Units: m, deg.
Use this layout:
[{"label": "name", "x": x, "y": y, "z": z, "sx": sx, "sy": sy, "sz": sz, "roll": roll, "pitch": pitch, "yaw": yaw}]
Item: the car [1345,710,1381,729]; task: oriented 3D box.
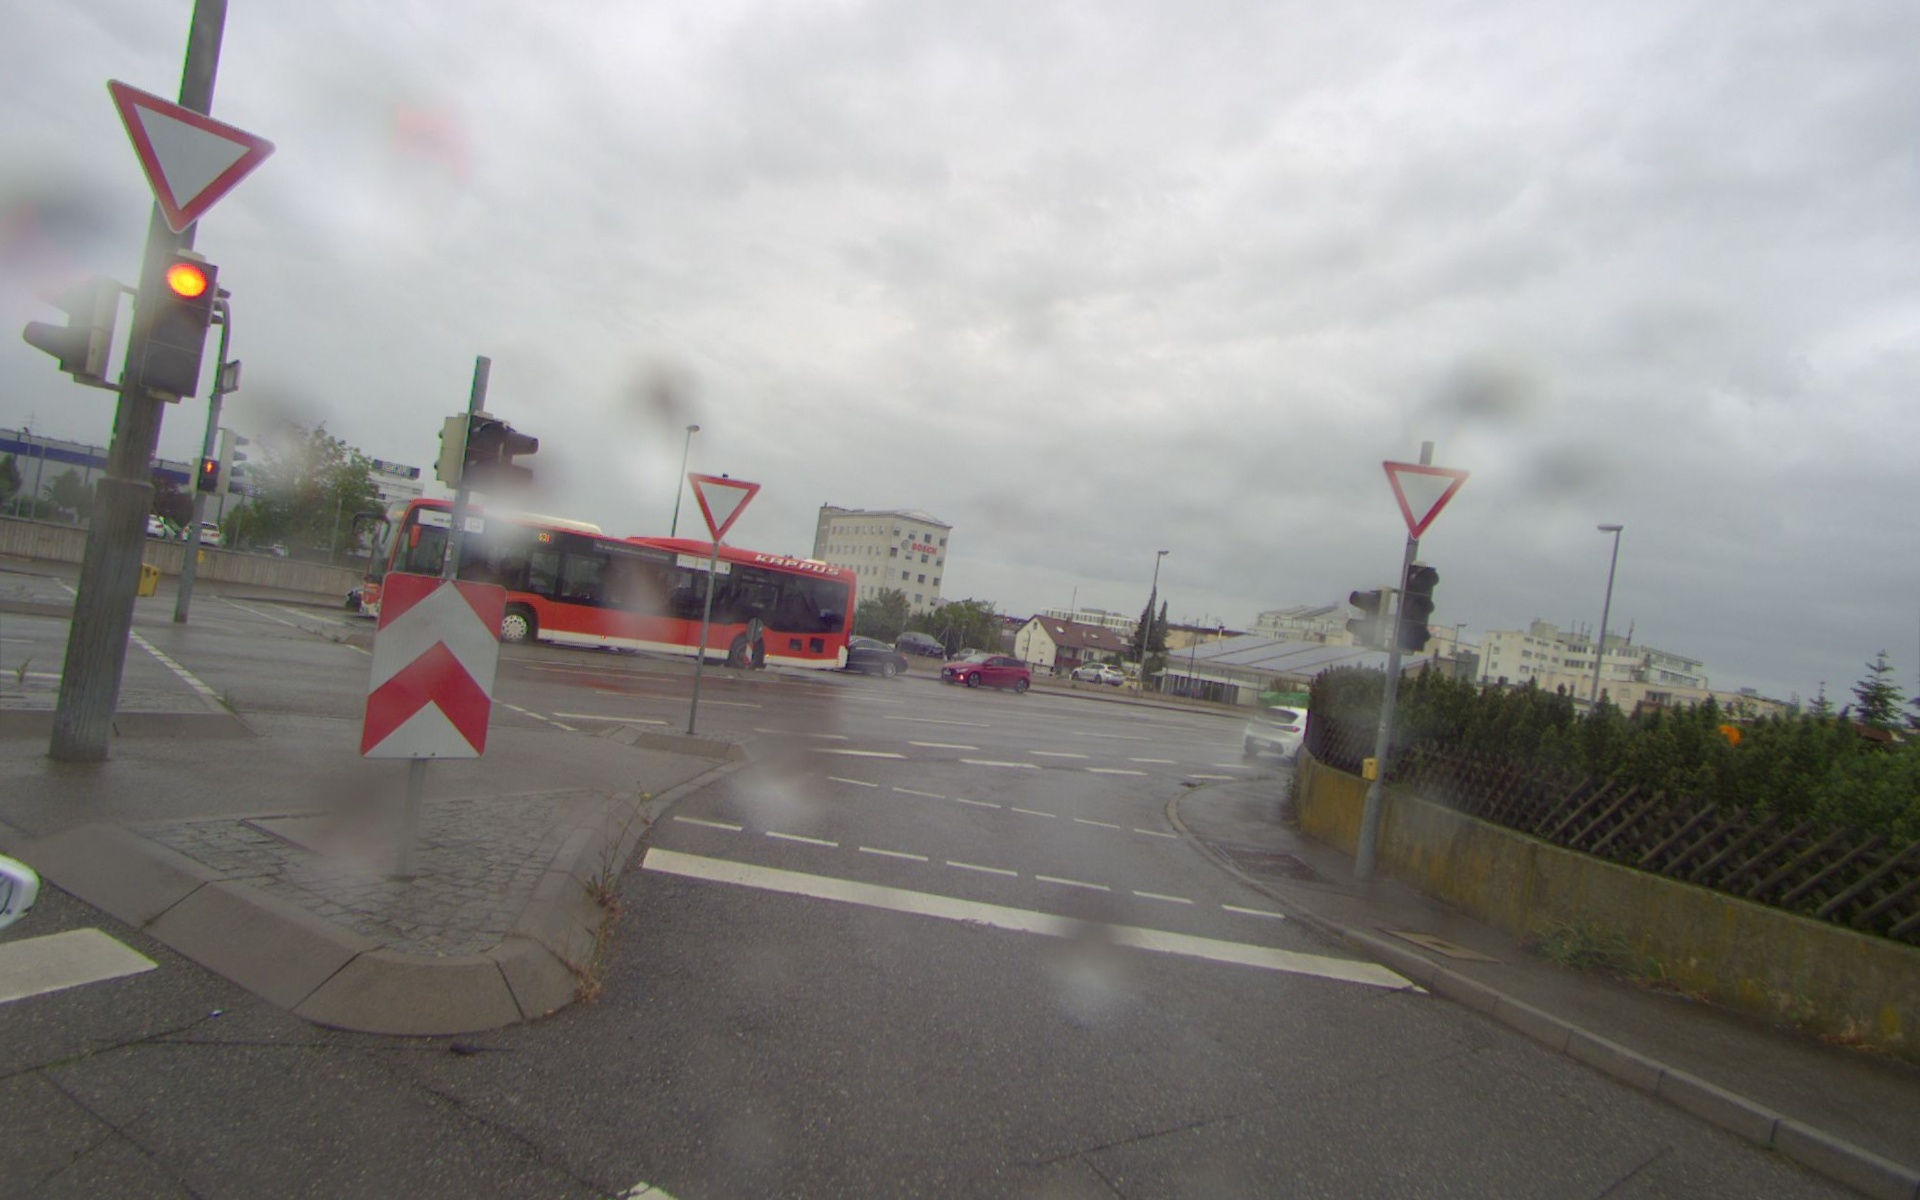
[{"label": "car", "x": 41.092, "y": 12.186, "z": 102.544, "sx": 3.616, "sy": 1.436, "sz": 1.720, "roll": 10, "pitch": -2, "yaw": -36}]

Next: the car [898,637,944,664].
[{"label": "car", "x": -3.191, "y": 4.053, "z": 81.458, "sx": 1.980, "sy": 1.636, "sz": 3.970, "roll": 9, "pitch": -2, "yaw": -30}]

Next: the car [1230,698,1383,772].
[{"label": "car", "x": 9.363, "y": 3.646, "z": 27.083, "sx": 3.947, "sy": 1.525, "sz": 1.854, "roll": 9, "pitch": -2, "yaw": -35}]

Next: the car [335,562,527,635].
[{"label": "car", "x": -14.802, "y": -0.018, "z": 28.285, "sx": 4.367, "sy": 1.370, "sz": 1.804, "roll": 10, "pitch": -3, "yaw": -42}]

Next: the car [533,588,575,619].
[{"label": "car", "x": -31.944, "y": 0.282, "z": 79.102, "sx": 1.983, "sy": 2.037, "sz": 3.962, "roll": 8, "pitch": -2, "yaw": -36}]

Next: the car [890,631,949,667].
[{"label": "car", "x": -2.505, "y": 2.975, "z": 61.678, "sx": 1.912, "sy": 1.684, "sz": 3.869, "roll": 9, "pitch": -2, "yaw": -29}]

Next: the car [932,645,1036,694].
[{"label": "car", "x": 1.021, "y": 2.900, "z": 42.038, "sx": 3.948, "sy": 1.525, "sz": 1.853, "roll": 9, "pitch": -2, "yaw": -36}]

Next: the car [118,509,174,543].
[{"label": "car", "x": -45.608, "y": -4.119, "z": 56.444, "sx": 1.805, "sy": 1.450, "sz": 4.071, "roll": 8, "pitch": -2, "yaw": -32}]

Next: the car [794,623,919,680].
[{"label": "car", "x": -3.887, "y": 1.971, "z": 38.184, "sx": 4.367, "sy": 1.555, "sz": 1.804, "roll": 10, "pitch": -3, "yaw": -42}]

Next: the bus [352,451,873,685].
[{"label": "bus", "x": -8.197, "y": -0.421, "z": 25.972, "sx": 12.223, "sy": 3.614, "sz": 2.952, "roll": 12, "pitch": -4, "yaw": -41}]

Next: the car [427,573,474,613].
[{"label": "car", "x": -30.984, "y": -0.445, "z": 61.167, "sx": 1.734, "sy": 2.037, "sz": 3.786, "roll": 8, "pitch": -2, "yaw": -37}]

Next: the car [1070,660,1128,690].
[{"label": "car", "x": 9.659, "y": 5.206, "z": 70.115, "sx": 1.976, "sy": 1.561, "sz": 3.977, "roll": 9, "pitch": -2, "yaw": -25}]

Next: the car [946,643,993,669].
[{"label": "car", "x": 0.776, "y": 4.669, "z": 83.745, "sx": 1.980, "sy": 1.636, "sz": 3.970, "roll": 9, "pitch": -2, "yaw": -30}]

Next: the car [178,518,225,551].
[{"label": "car", "x": -43.821, "y": -3.766, "z": 58.212, "sx": 1.847, "sy": 1.543, "sz": 4.066, "roll": 8, "pitch": -2, "yaw": -35}]
